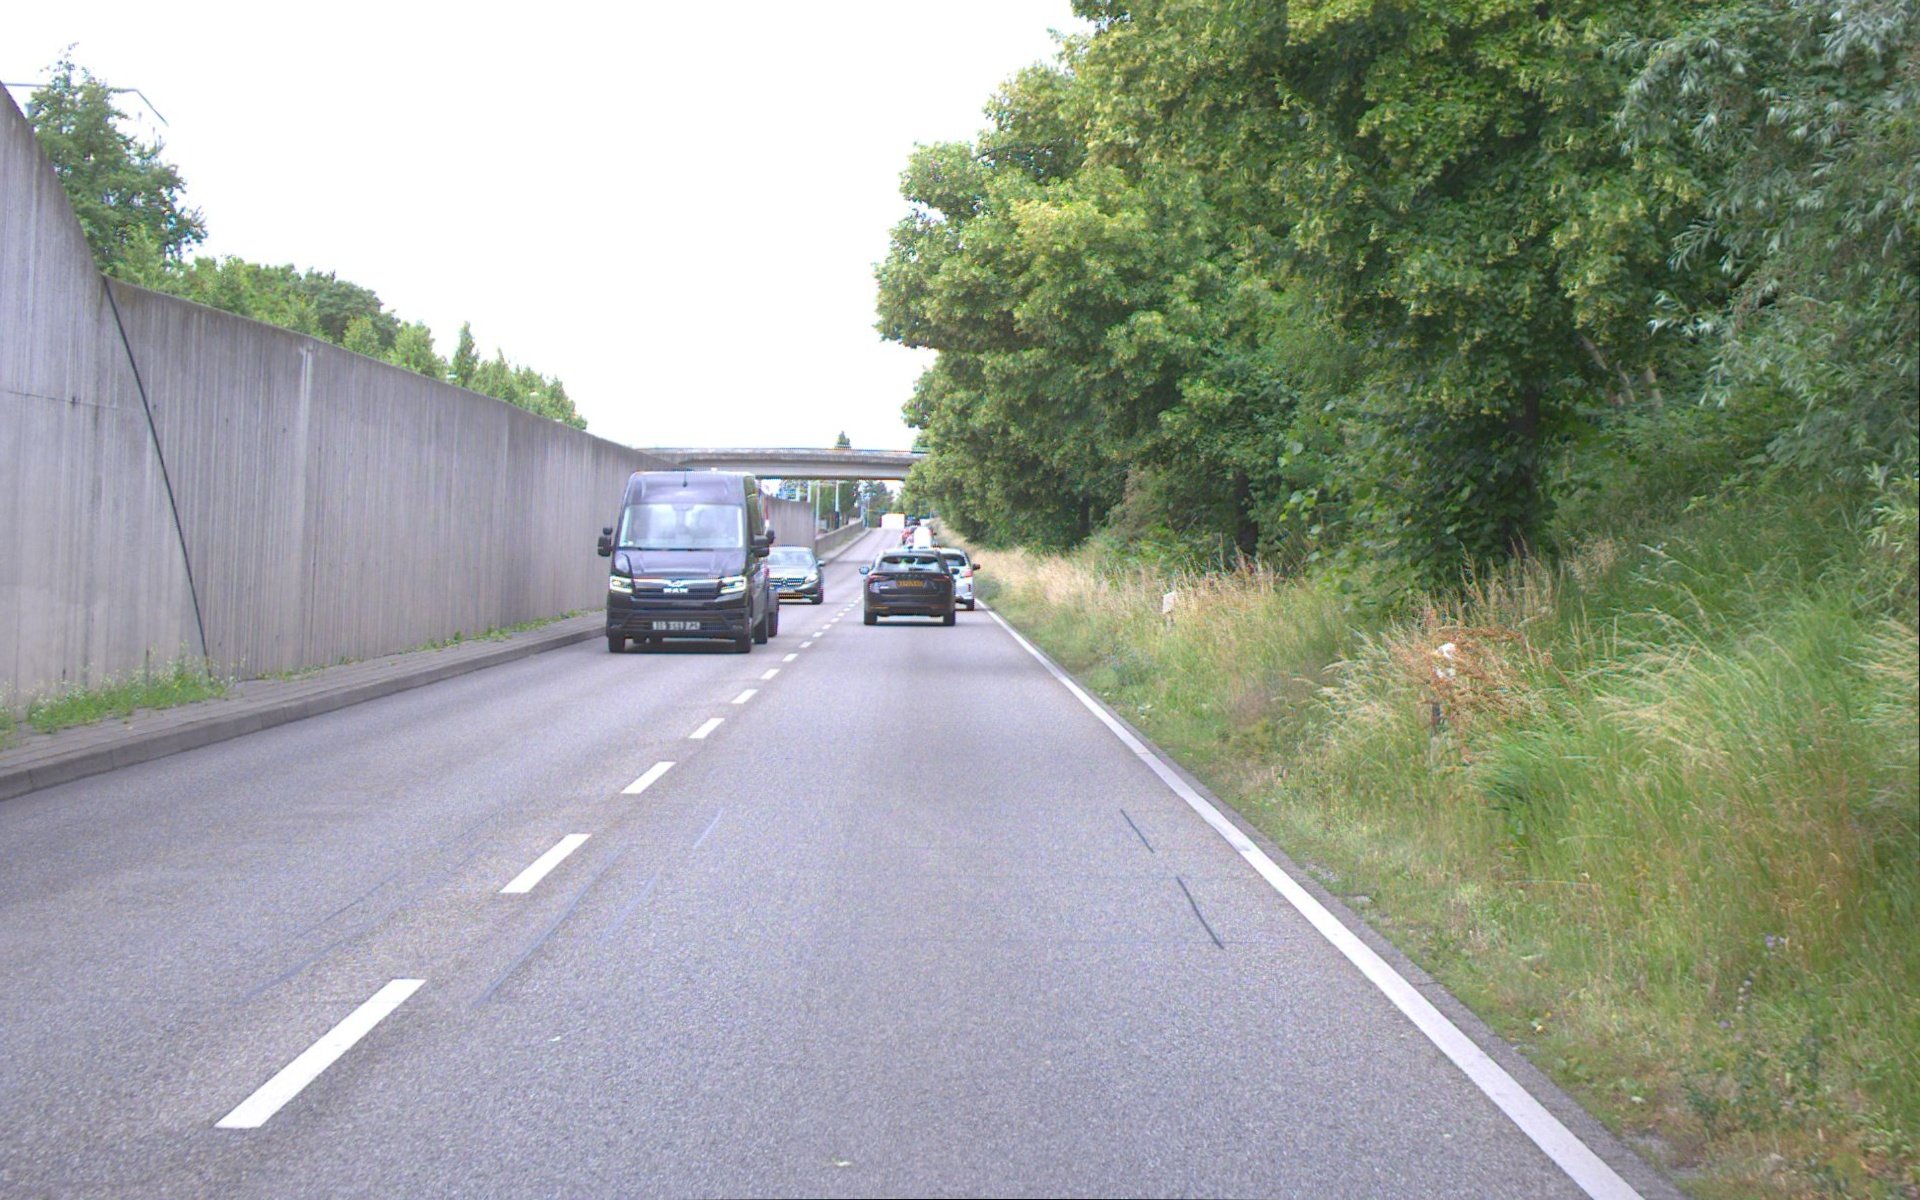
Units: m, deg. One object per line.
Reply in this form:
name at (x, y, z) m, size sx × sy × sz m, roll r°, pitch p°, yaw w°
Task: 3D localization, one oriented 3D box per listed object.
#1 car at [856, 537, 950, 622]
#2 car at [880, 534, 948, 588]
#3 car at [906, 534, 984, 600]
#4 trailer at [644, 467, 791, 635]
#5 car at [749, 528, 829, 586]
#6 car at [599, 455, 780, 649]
car at (-1.078, -0.421, 66.588) m, size 1.754 × 1.518 × 4.037 m, roll 0°, pitch 2°, yaw 0°
car at (-1.419, -1.179, 104.080) m, size 1.866 × 1.485 × 4.257 m, roll 4°, pitch 1°, yaw -2°
car at (-0.335, -0.793, 83.039) m, size 1.754 × 1.518 × 4.036 m, roll 1°, pitch 0°, yaw 1°
trailer at (-3.933, -0.806, 56.352) m, size 2.109 × 2.621 × 4.372 m, roll 0°, pitch 1°, yaw 0°
car at (-4.495, -1.142, 90.767) m, size 1.892 × 1.478 × 4.823 m, roll 0°, pitch 1°, yaw 0°
car at (-3.873, -0.712, 50.410) m, size 2.109 × 2.621 × 7.417 m, roll 0°, pitch 1°, yaw 0°
